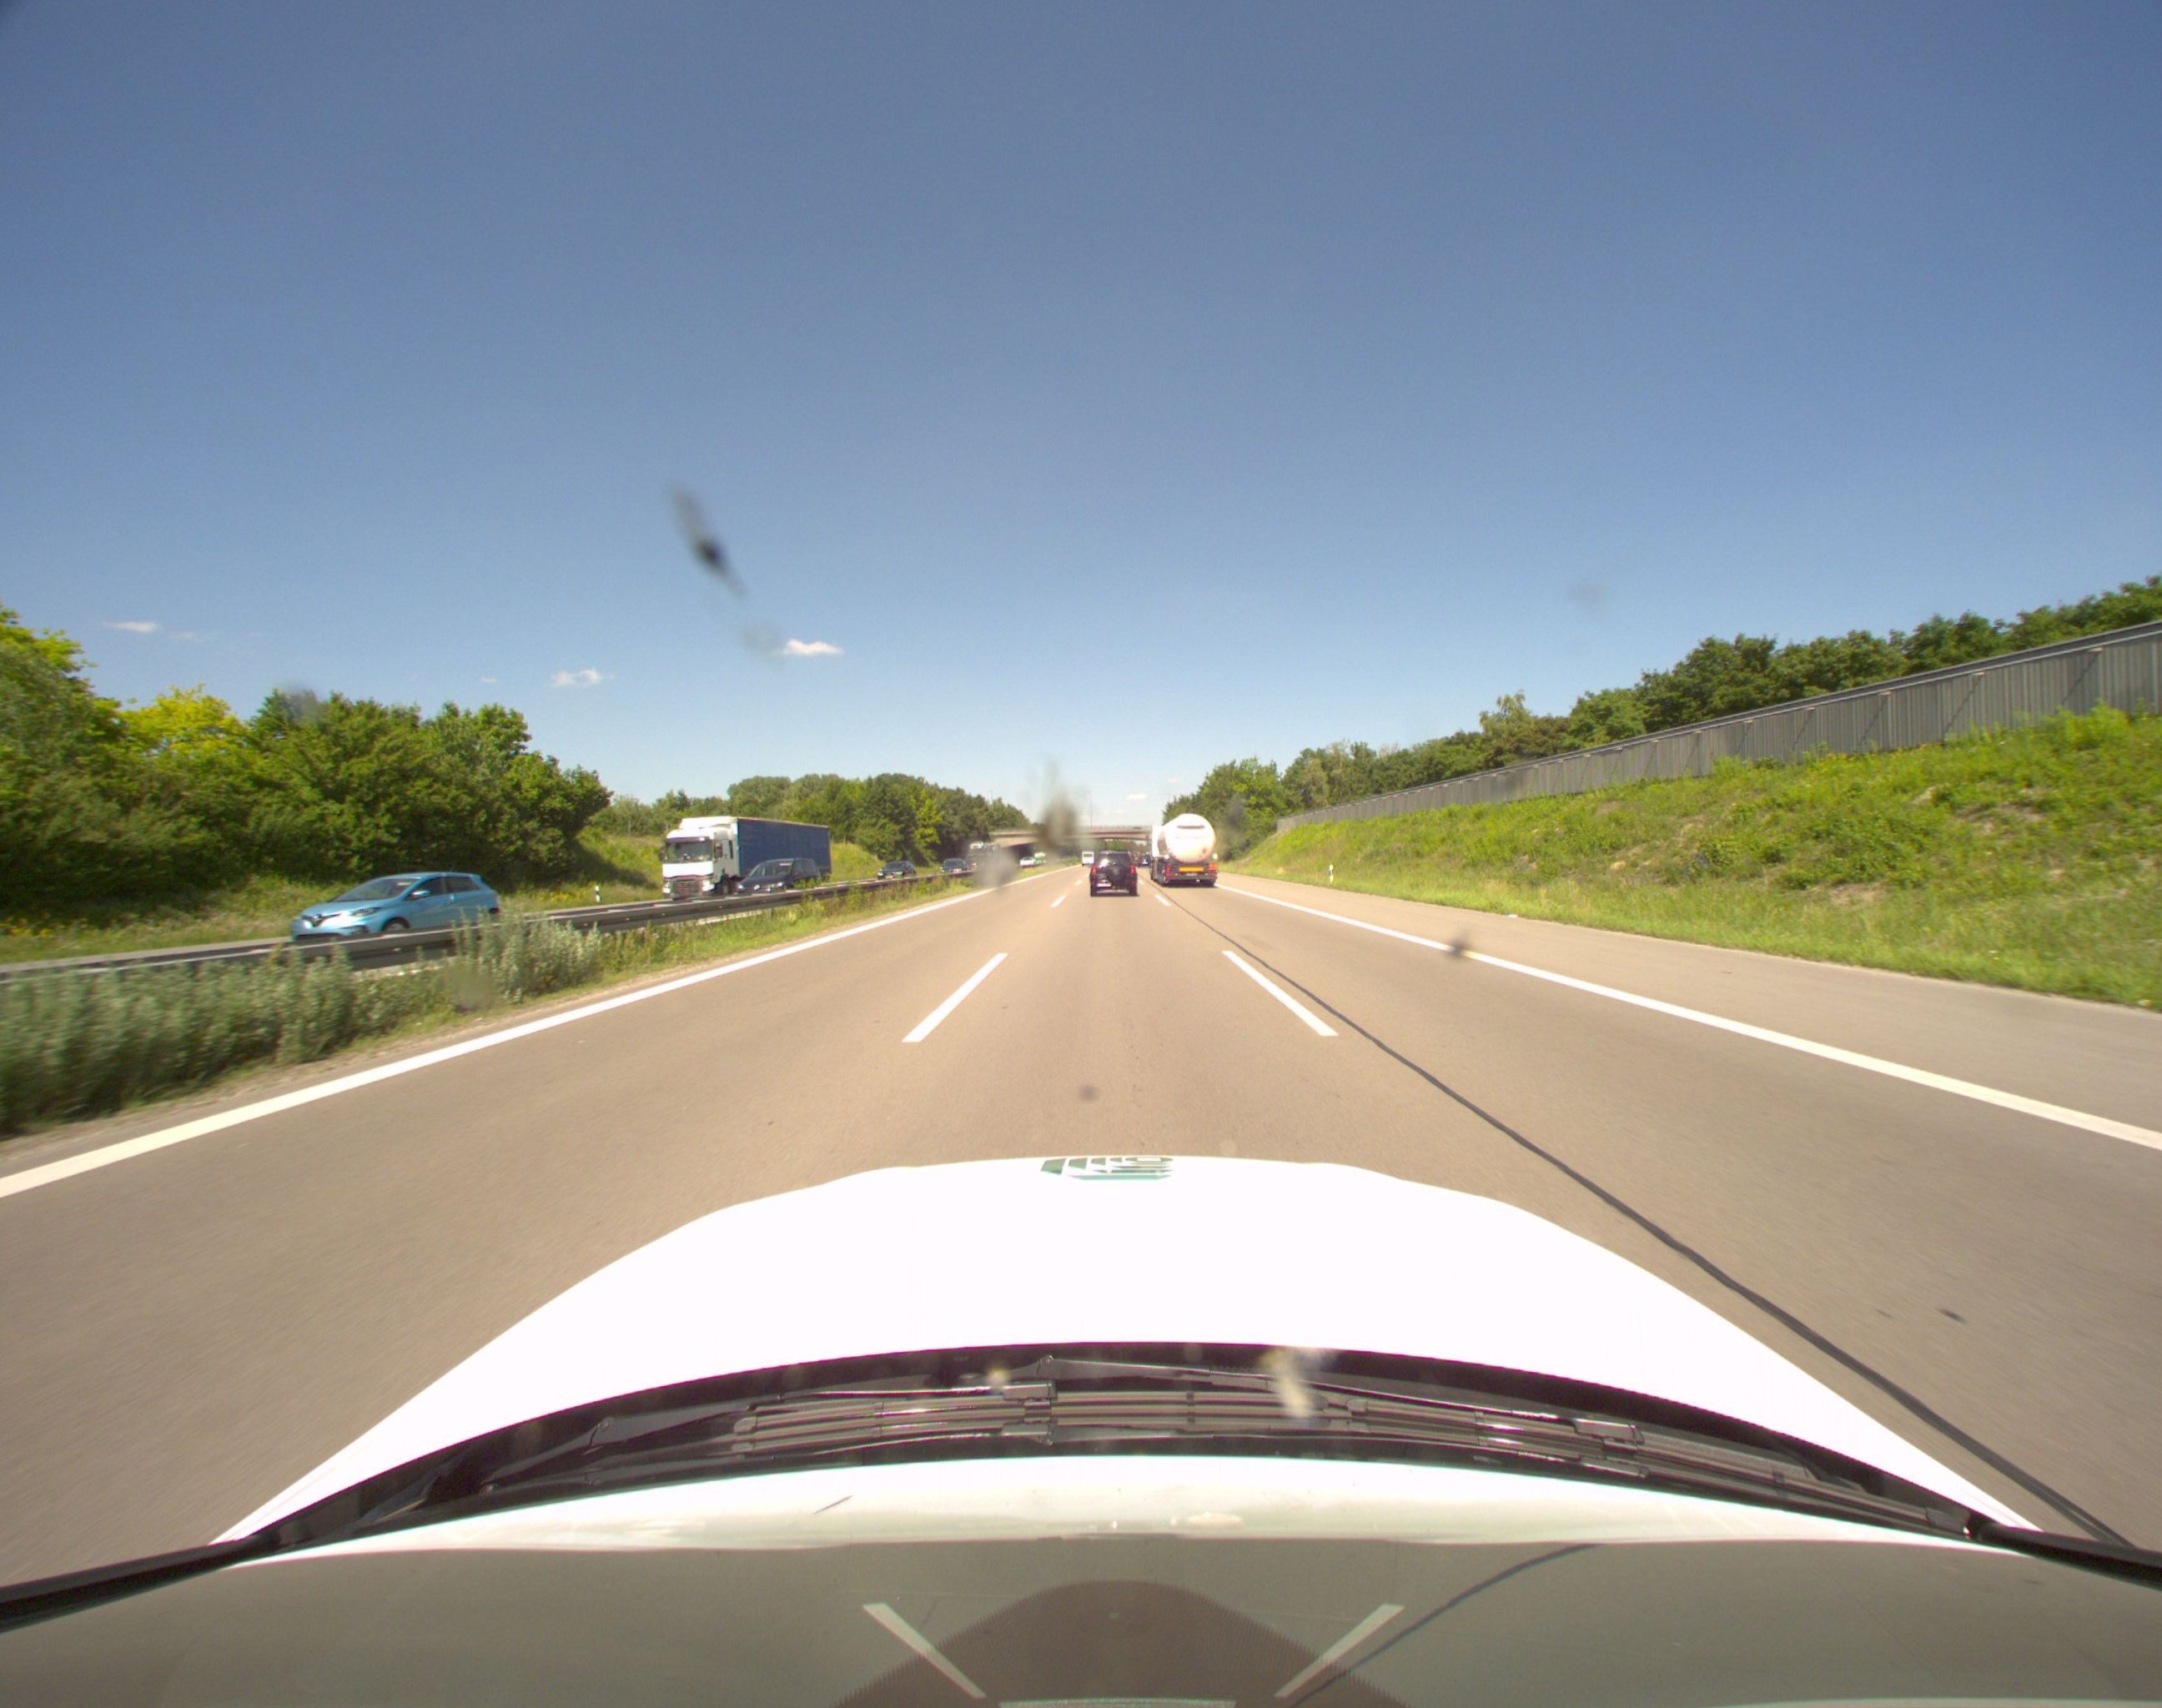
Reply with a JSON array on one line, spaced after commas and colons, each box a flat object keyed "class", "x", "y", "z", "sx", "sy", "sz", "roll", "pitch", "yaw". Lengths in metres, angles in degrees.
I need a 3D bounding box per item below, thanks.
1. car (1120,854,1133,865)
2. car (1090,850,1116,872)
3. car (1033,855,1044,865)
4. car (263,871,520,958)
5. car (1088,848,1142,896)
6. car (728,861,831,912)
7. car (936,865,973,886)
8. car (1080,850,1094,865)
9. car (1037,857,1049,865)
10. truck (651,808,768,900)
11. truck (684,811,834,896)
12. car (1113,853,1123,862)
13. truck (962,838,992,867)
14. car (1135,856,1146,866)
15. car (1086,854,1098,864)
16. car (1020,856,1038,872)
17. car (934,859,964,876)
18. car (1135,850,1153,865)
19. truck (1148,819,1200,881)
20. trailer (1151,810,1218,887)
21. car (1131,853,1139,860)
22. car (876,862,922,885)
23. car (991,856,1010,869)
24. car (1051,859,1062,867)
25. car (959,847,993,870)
[{"class": "car", "x": 6.827, "y": 0.806, "z": 121.987, "sx": 1.834, "sy": 1.611, "sz": 4.004, "roll": -1, "pitch": -1, "yaw": 4}, {"class": "car", "x": 1.801, "y": 0.606, "z": 67.621, "sx": 1.987, "sy": 1.706, "sz": 4.335, "roll": -2, "pitch": -1, "yaw": 0}, {"class": "car", "x": -8.493, "y": 1.151, "z": 162.878, "sx": 1.807, "sy": 1.809, "sz": 4.383, "roll": -2, "pitch": 0, "yaw": 2}, {"class": "car", "x": -14.576, "y": 1.187, "z": 17.625, "sx": 1.788, "sy": 1.510, "sz": 4.351, "roll": -2, "pitch": 0, "yaw": 1}, {"class": "car", "x": 1.288, "y": 0.660, "z": 31.220, "sx": 1.899, "sy": 1.665, "sz": 4.001, "roll": -1, "pitch": 0, "yaw": 2}, {"class": "car", "x": -10.766, "y": 1.112, "z": 29.451, "sx": 1.852, "sy": 1.600, "sz": 4.721, "roll": -2, "pitch": 0, "yaw": 1}, {"class": "car", "x": -9.684, "y": 1.645, "z": 62.503, "sx": 1.867, "sy": 1.439, "sz": 5.020, "roll": -2, "pitch": 0, "yaw": 2}, {"class": "car", "x": 0.893, "y": 0.503, "z": 118.079, "sx": 1.986, "sy": 2.014, "sz": 4.950, "roll": -2, "pitch": -1, "yaw": 1}, {"class": "car", "x": -6.471, "y": 1.177, "z": 140.066, "sx": 1.709, "sy": 1.390, "sz": 4.003, "roll": -2, "pitch": 0, "yaw": 3}, {"class": "truck", "x": -18.219, "y": 0.021, "z": 40.419, "sx": 2.662, "sy": 4.078, "sz": 6.077, "roll": -3, "pitch": 0, "yaw": 1}, {"class": "truck", "x": -18.048, "y": 0.007, "z": 47.265, "sx": 2.662, "sy": 4.078, "sz": 13.963, "roll": -3, "pitch": 0, "yaw": 1}, {"class": "car", "x": 7.949, "y": 0.796, "z": 174.021, "sx": 1.985, "sy": 1.750, "sz": 4.207, "roll": -2, "pitch": 0, "yaw": 3}, {"class": "truck", "x": -15.322, "y": -0.167, "z": 120.171, "sx": 3.229, "sy": 4.050, "sz": 7.396, "roll": -2, "pitch": 0, "yaw": 1}, {"class": "car", "x": 11.416, "y": 1.380, "z": 156.171, "sx": 1.985, "sy": 1.779, "sz": 4.264, "roll": -2, "pitch": 0, "yaw": 3}, {"class": "car", "x": 1.875, "y": 0.899, "z": 136.768, "sx": 1.985, "sy": 1.552, "sz": 4.002, "roll": -1, "pitch": -1, "yaw": 2}, {"class": "car", "x": -7.016, "y": 1.361, "z": 110.265, "sx": 1.986, "sy": 2.014, "sz": 4.916, "roll": -1, "pitch": -1, "yaw": 2}, {"class": "car", "x": -13.164, "y": 1.317, "z": 81.516, "sx": 1.957, "sy": 1.641, "sz": 4.897, "roll": -2, "pitch": 0, "yaw": 2}, {"class": "car", "x": 7.598, "y": 0.432, "z": 98.542, "sx": 1.986, "sy": 1.684, "sz": 4.002, "roll": -1, "pitch": -1, "yaw": 2}, {"class": "truck", "x": 5.384, "y": -0.205, "z": 48.116, "sx": 2.627, "sy": 3.375, "sz": 6.491, "roll": 0, "pitch": 0, "yaw": 3}, {"class": "trailer", "x": 5.096, "y": -0.218, "z": 41.874, "sx": 2.637, "sy": 3.390, "sz": 11.161, "roll": 0, "pitch": 0, "yaw": 3}, {"class": "car", "x": 14.821, "y": 0.670, "z": 222.944, "sx": 1.806, "sy": 1.746, "sz": 4.001, "roll": -2, "pitch": 0, "yaw": 1}, {"class": "car", "x": -13.012, "y": 1.372, "z": 58.545, "sx": 1.986, "sy": 1.509, "sz": 5.209, "roll": -2, "pitch": 0, "yaw": 1}, {"class": "car", "x": -11.277, "y": 1.159, "z": 113.930, "sx": 1.986, "sy": 1.613, "sz": 4.583, "roll": -2, "pitch": 0, "yaw": 2}, {"class": "car", "x": -4.693, "y": 1.789, "z": 157.742, "sx": 1.842, "sy": 1.574, "sz": 4.425, "roll": -1, "pitch": -1, "yaw": 3}, {"class": "car", "x": -9.233, "y": 0.409, "z": 72.224, "sx": 2.082, "sy": 1.945, "sz": 5.691, "roll": -2, "pitch": 0, "yaw": 2}]
